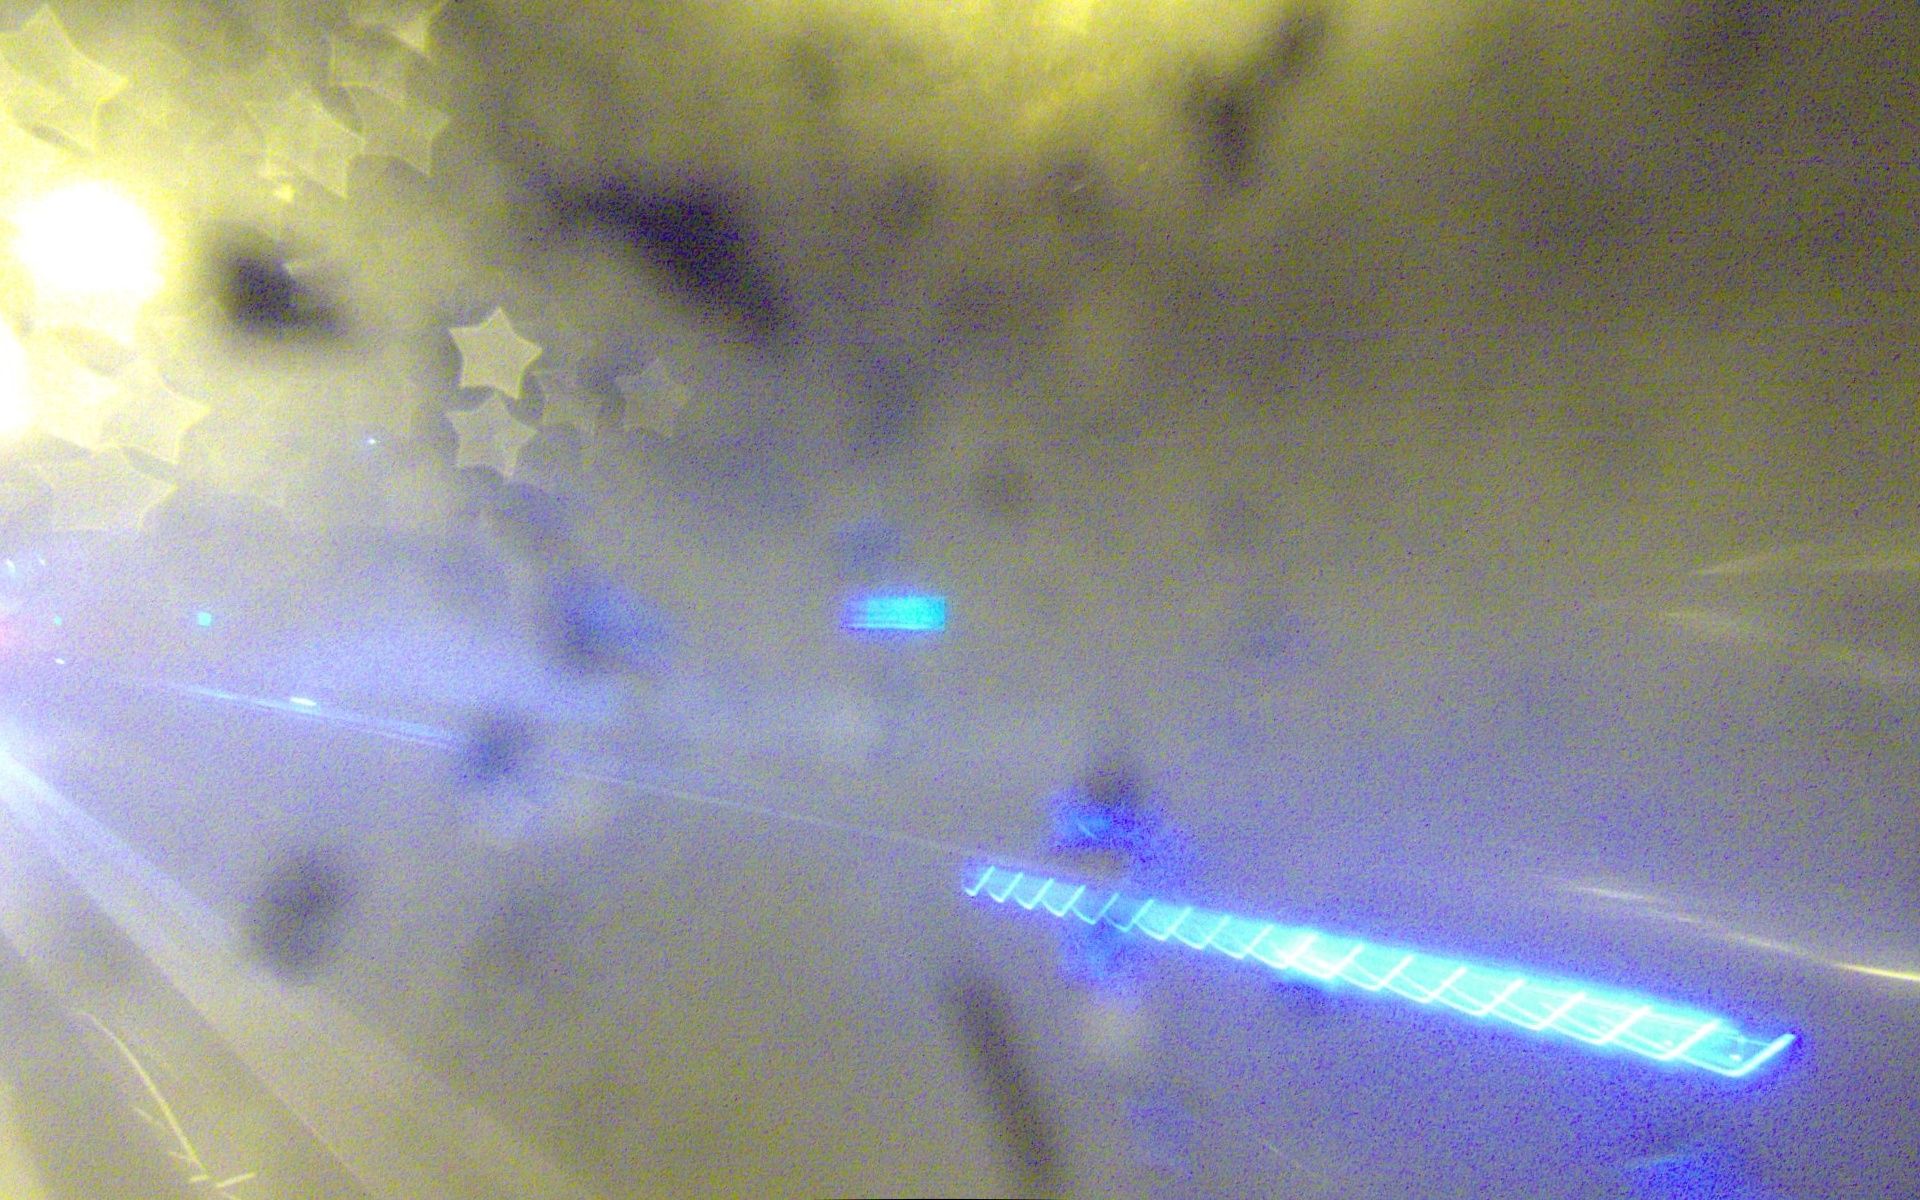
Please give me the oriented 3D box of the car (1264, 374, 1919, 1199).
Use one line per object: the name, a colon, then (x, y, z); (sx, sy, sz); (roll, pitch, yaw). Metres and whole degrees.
car: (2.712, 0.517, 1.302); (4.126, 1.689, 1.679); (-2, -2, 42)
